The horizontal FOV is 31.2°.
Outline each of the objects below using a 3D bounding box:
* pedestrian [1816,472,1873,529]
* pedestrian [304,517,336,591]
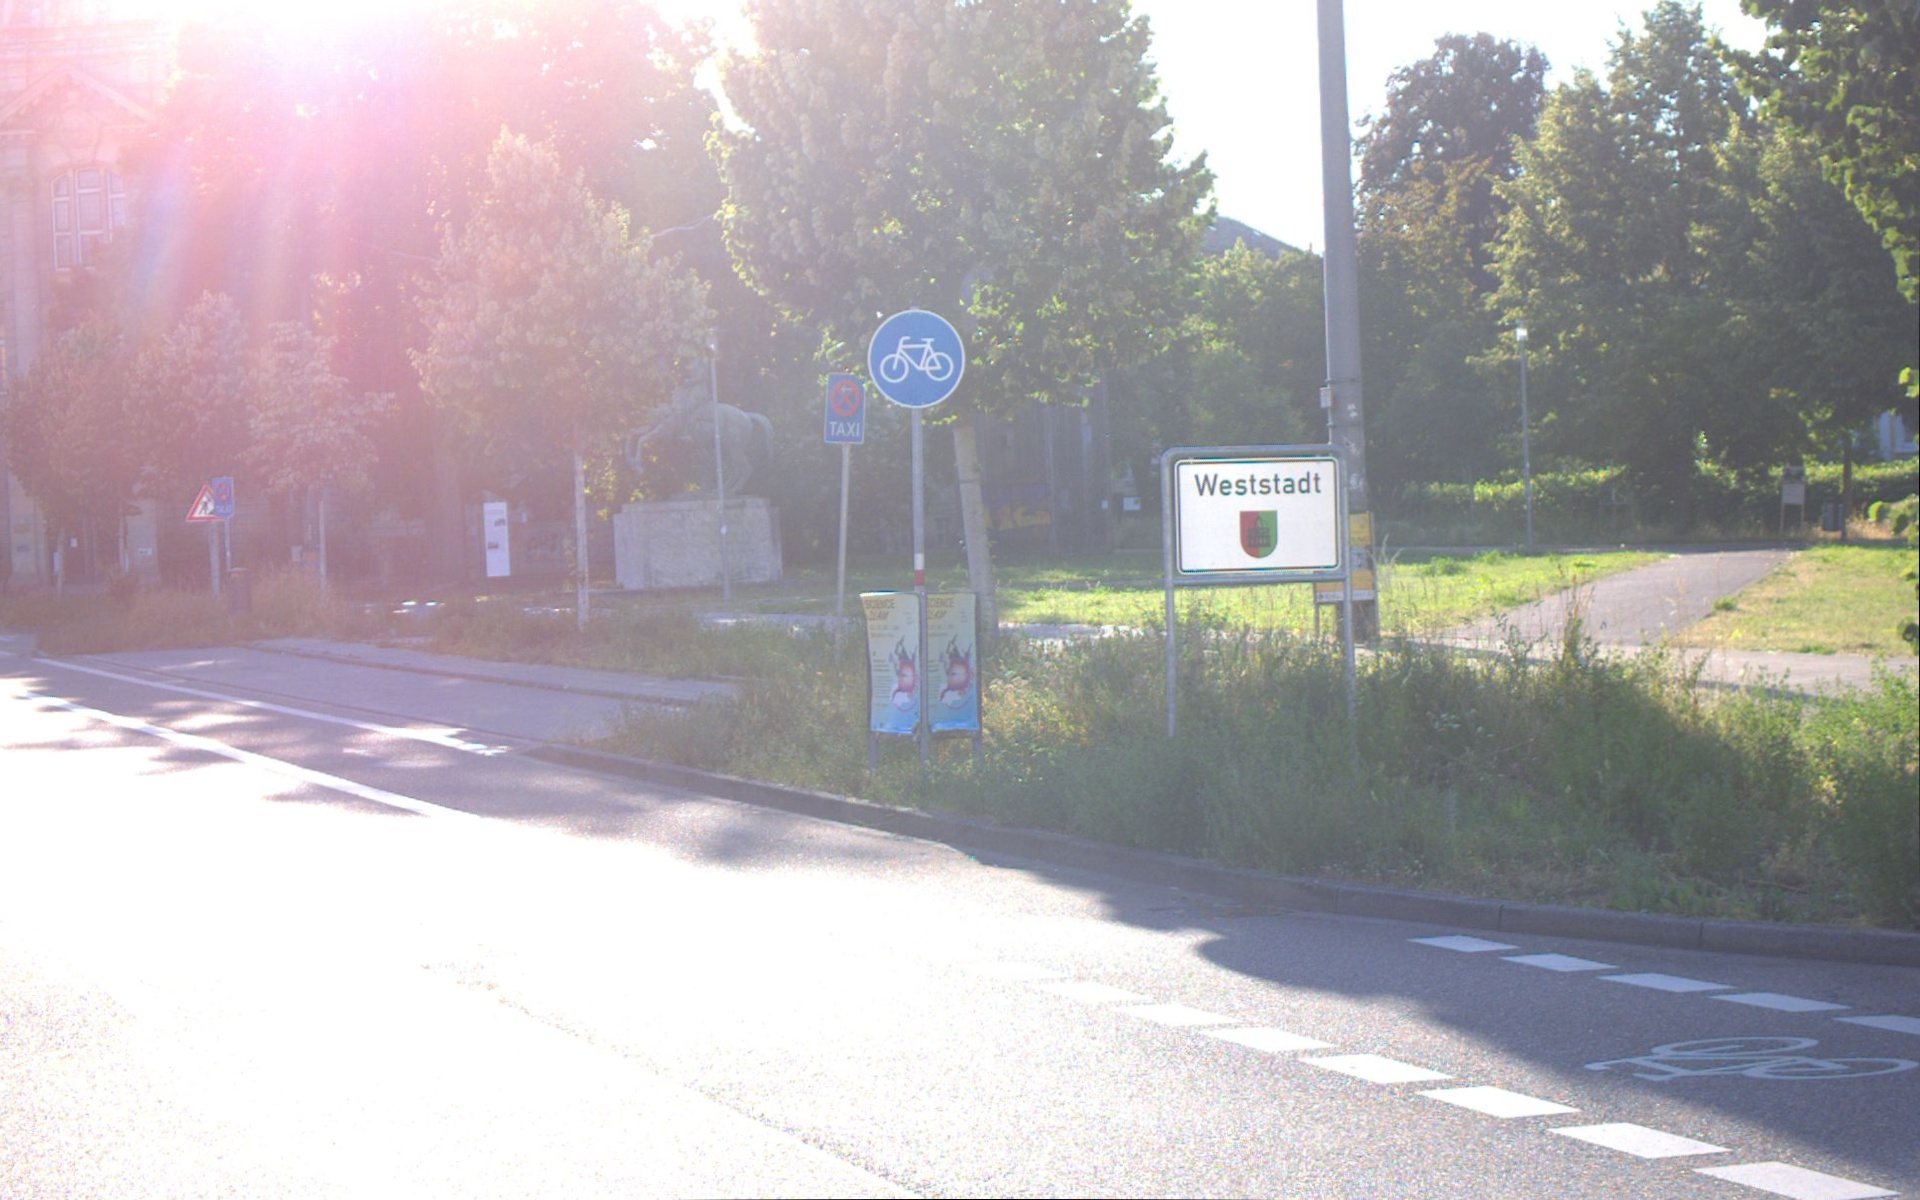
[{"bbox_3d":[18.849,-2.123,73.266,0.810,1.183,0.845,-3,1,-21],"label":"pedestrian"},{"bbox_3d":[-16.052,-1.164,86.230,0.683,1.816,0.535,-3,1,-16],"label":"pedestrian"}]
